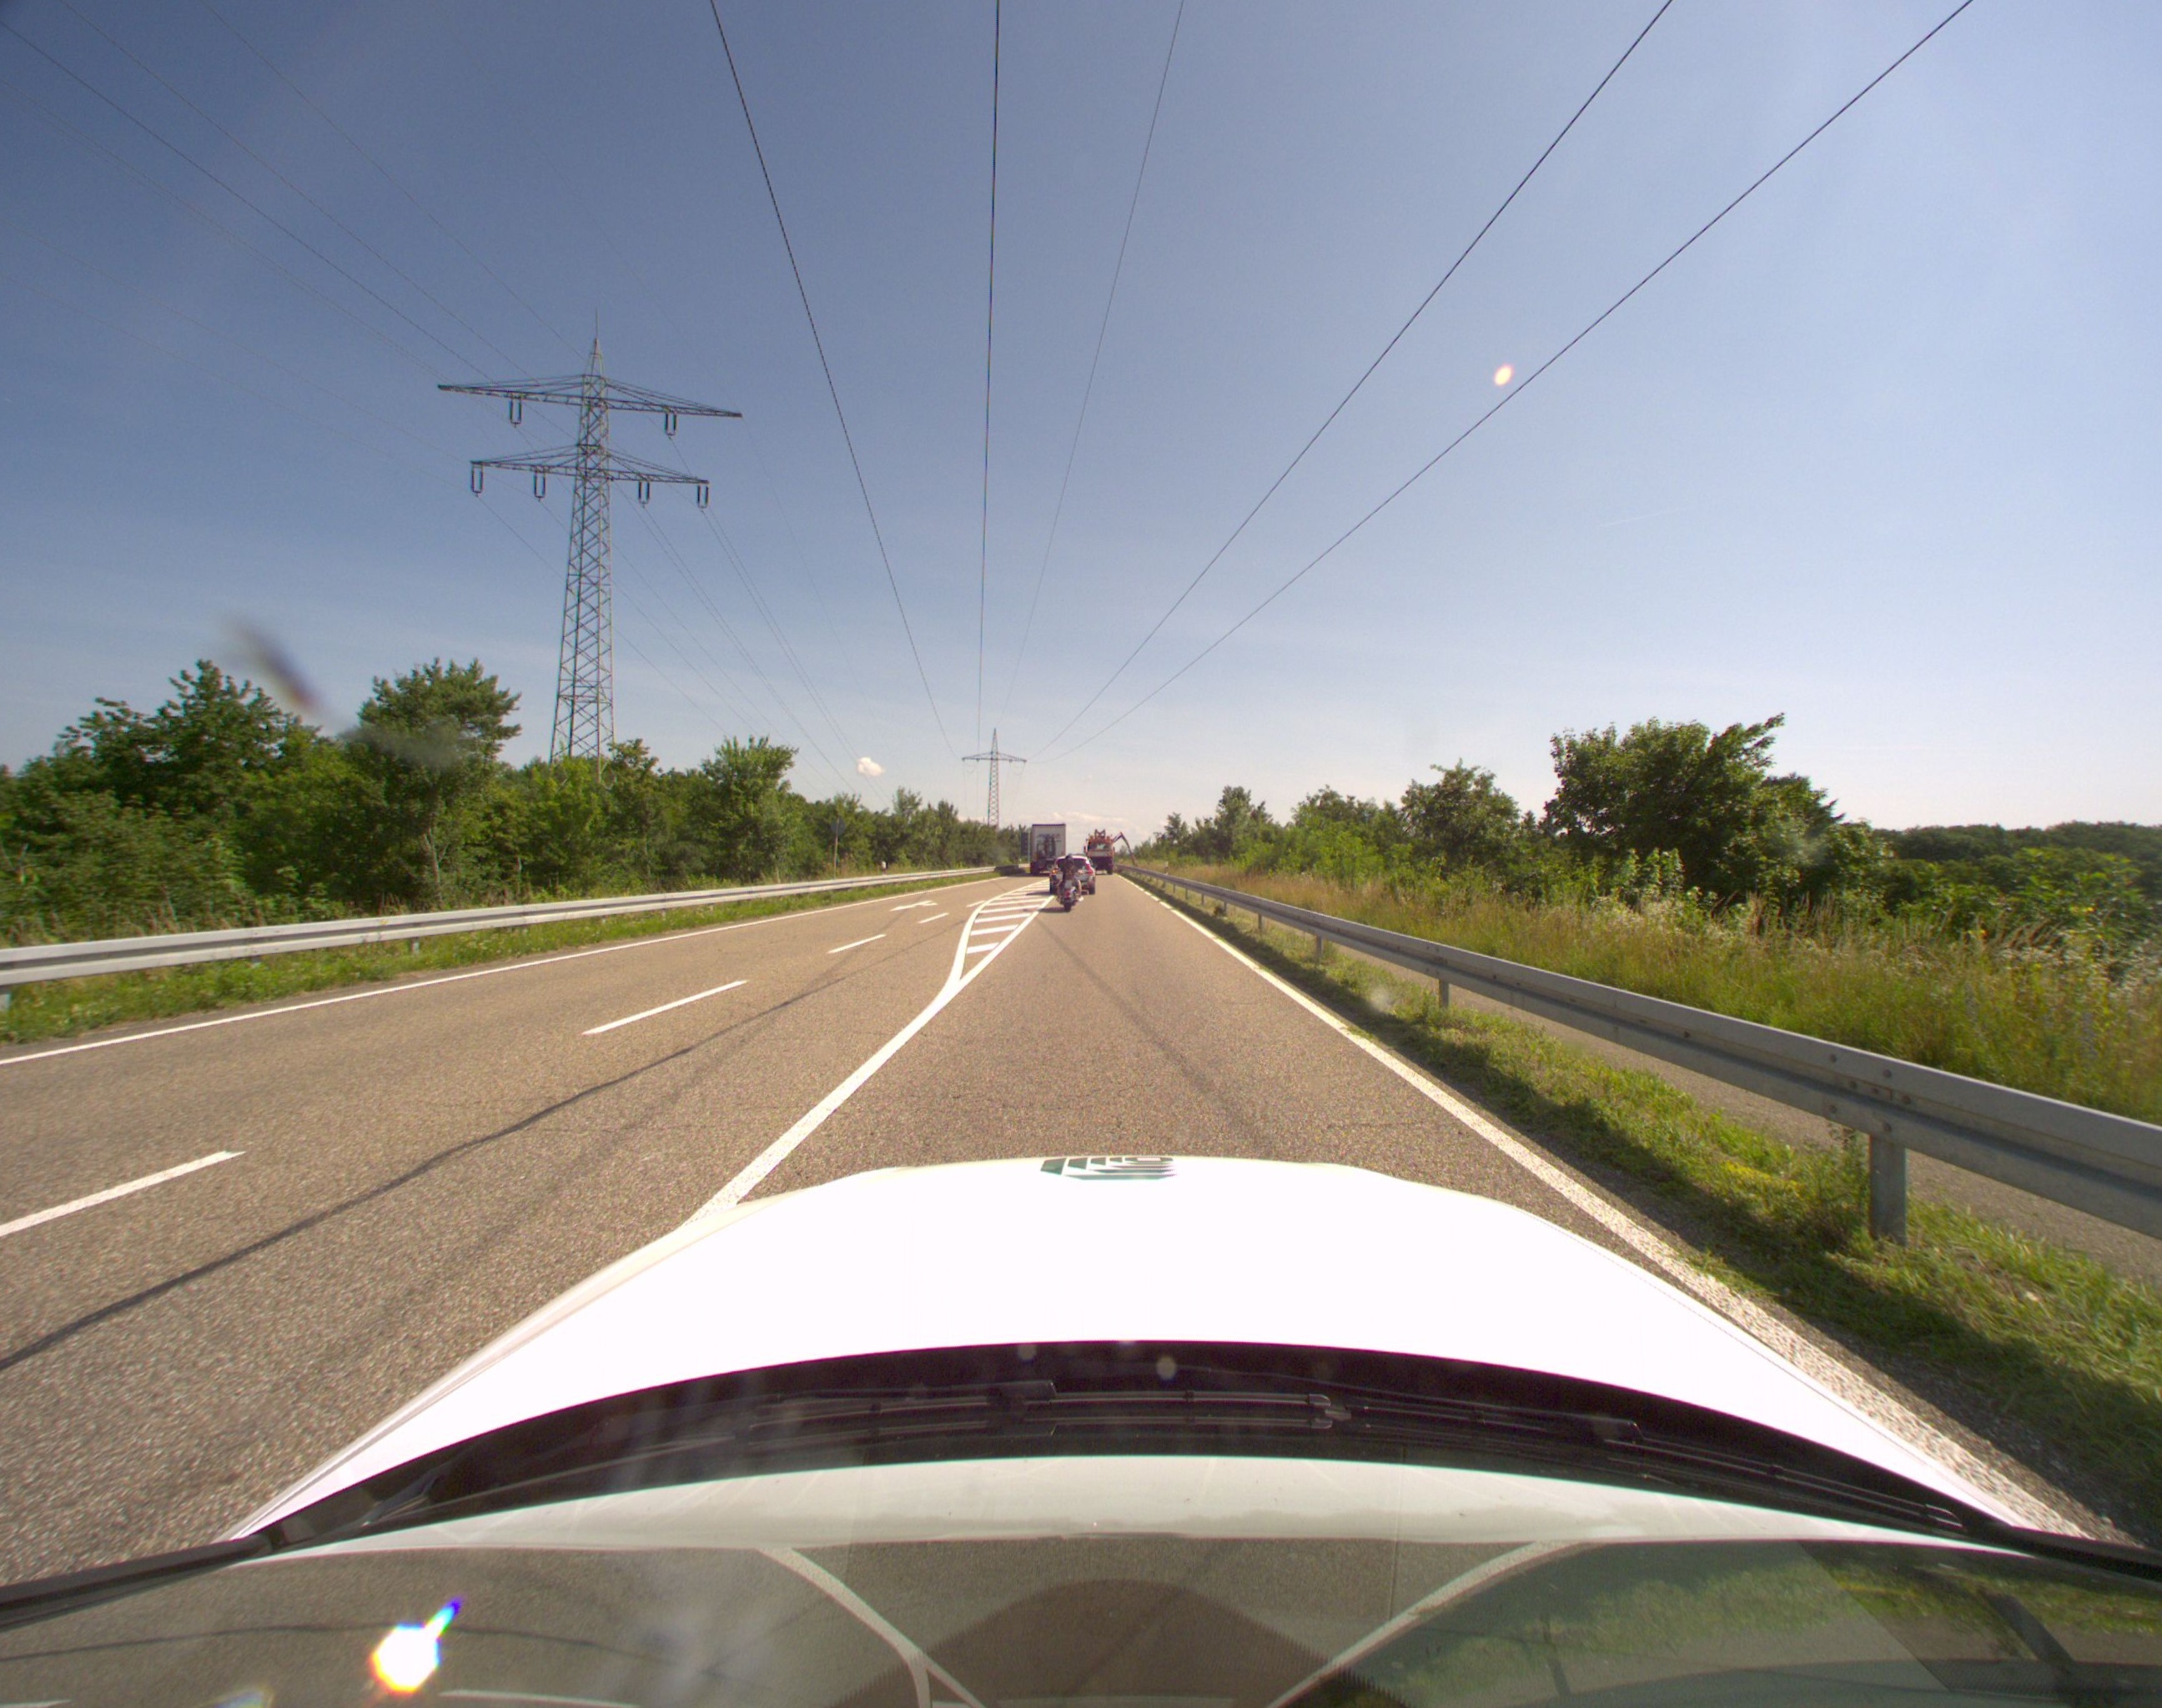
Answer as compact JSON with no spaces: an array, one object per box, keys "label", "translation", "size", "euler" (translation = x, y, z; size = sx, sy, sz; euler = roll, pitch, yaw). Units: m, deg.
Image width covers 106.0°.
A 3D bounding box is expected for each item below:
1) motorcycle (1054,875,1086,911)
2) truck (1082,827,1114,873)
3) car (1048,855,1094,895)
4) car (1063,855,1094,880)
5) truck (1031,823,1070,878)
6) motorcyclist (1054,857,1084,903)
[{"label":"motorcycle","translation":[-0.323,1.094,23.179],"size":[0.856,0.915,2.227],"euler":[-1,0,-1]},{"label":"truck","translation":[1.427,-0.336,69.515],"size":[2.605,3.711,6.776],"euler":[0,0,0]},{"label":"car","translation":[-0.467,0.826,33.368],"size":[1.697,1.536,3.494],"euler":[0,0,-4]},{"label":"car","translation":[-0.136,0.811,50.322],"size":[1.849,1.490,3.740],"euler":[0,0,0]},{"label":"truck","translation":[-2.709,-0.265,69.719],"size":[2.961,4.187,14.805],"euler":[0,0,-3]},{"label":"motorcyclist","translation":[-0.330,0.732,23.080],"size":[0.835,1.280,0.919],"euler":[0,0,-1]}]
